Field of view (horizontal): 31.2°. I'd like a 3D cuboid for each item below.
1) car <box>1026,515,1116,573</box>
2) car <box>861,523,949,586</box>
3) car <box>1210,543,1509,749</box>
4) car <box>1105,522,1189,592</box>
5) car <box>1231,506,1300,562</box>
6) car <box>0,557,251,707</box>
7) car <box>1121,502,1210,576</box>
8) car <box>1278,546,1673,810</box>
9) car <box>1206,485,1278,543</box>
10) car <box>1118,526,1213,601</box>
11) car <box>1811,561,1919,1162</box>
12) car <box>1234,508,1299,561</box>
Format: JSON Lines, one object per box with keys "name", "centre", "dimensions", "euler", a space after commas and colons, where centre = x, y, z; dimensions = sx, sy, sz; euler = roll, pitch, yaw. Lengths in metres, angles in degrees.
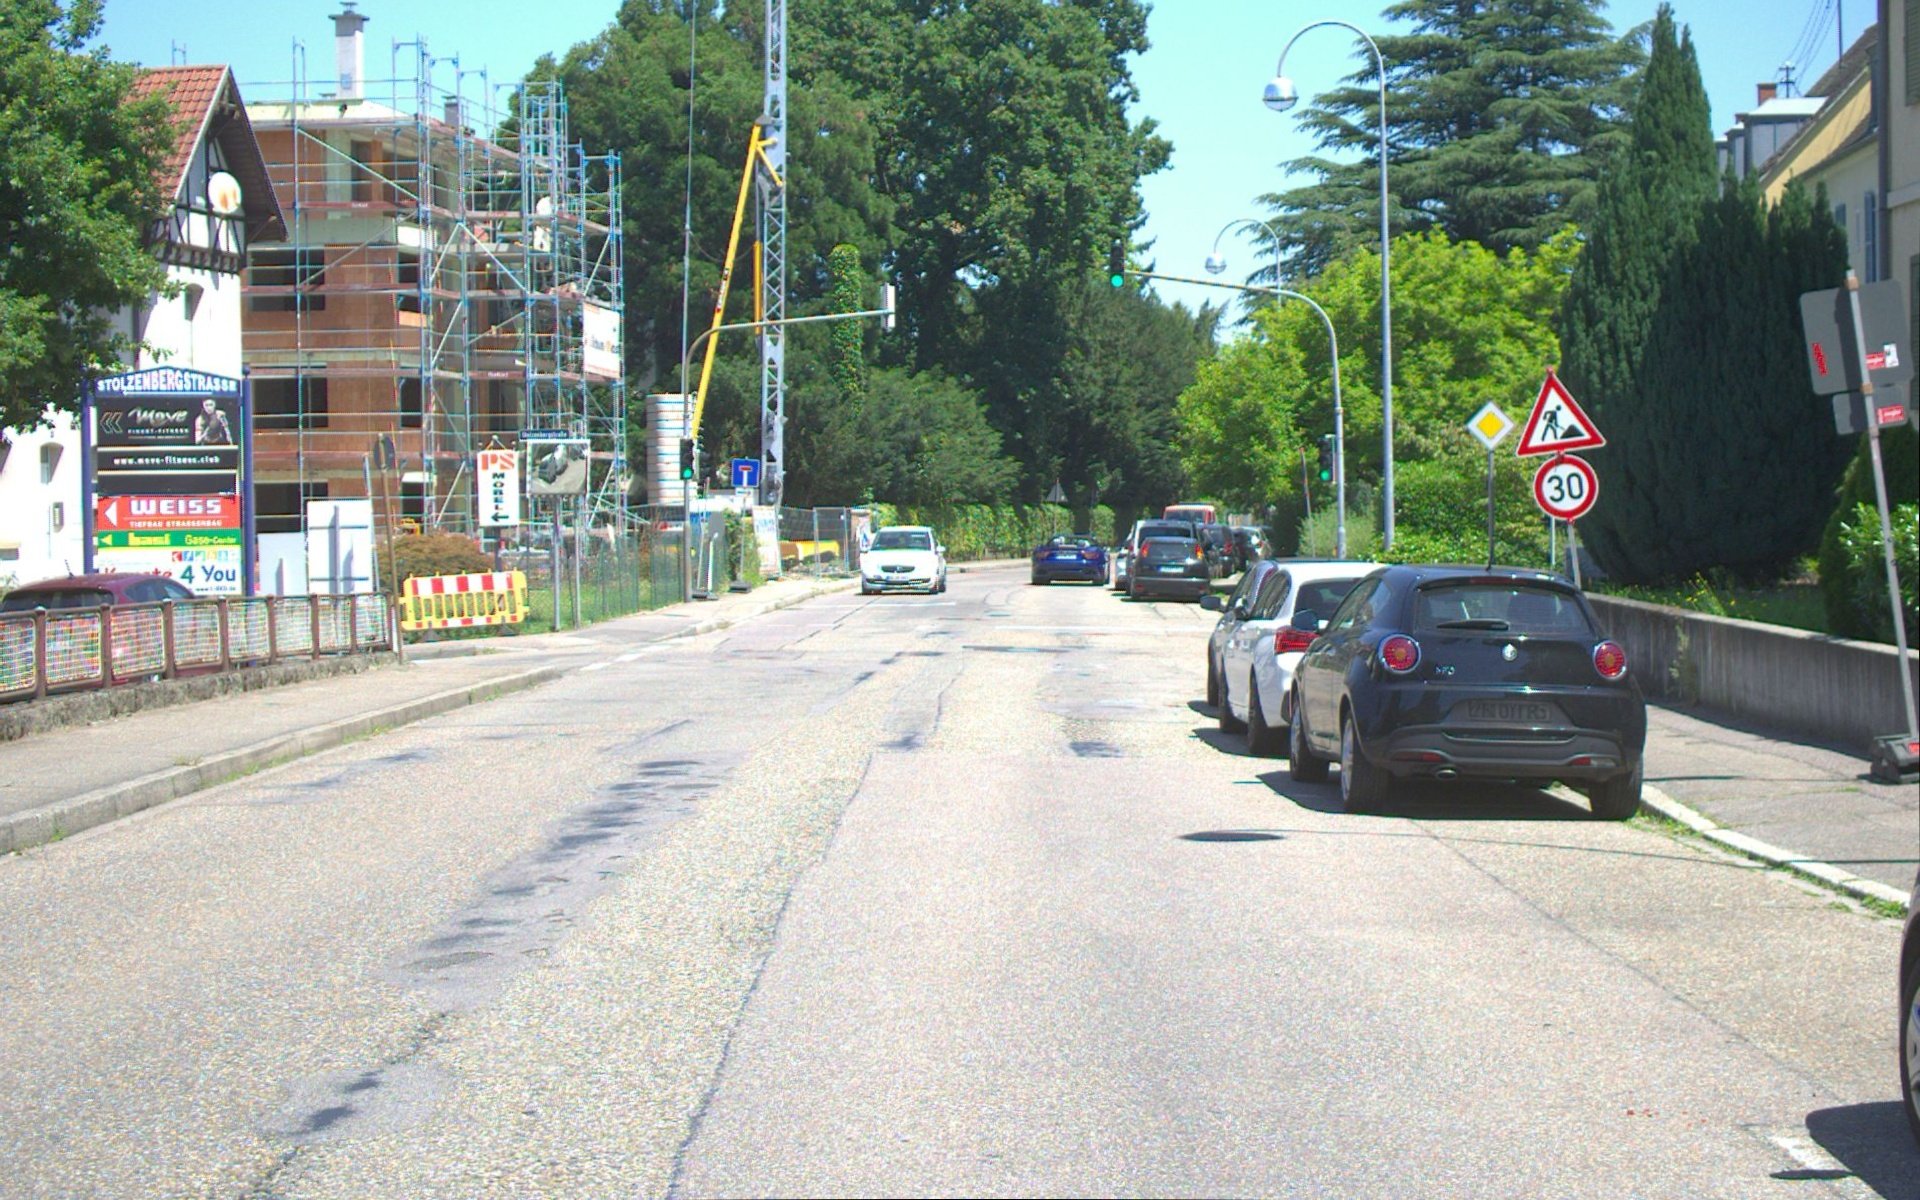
{"name": "car", "centre": [2.949, -1.505, 90.713], "dimensions": [1.959, 1.463, 3.999], "euler": [0, 2, 8]}
{"name": "car", "centre": [-1.272, -1.077, 80.732], "dimensions": [1.761, 1.446, 3.839], "euler": [0, 1, 4]}
{"name": "car", "centre": [2.996, 0.297, 26.507], "dimensions": [1.761, 1.446, 3.890], "euler": [0, 1, -1]}
{"name": "car", "centre": [4.675, -1.086, 85.528], "dimensions": [1.994, 1.656, 4.000], "euler": [-1, 1, 4]}
{"name": "car", "centre": [9.592, -2.067, 107.765], "dimensions": [1.994, 1.656, 3.999], "euler": [-1, 1, 7]}
{"name": "car", "centre": [-8.450, 0.286, 34.352], "dimensions": [1.660, 1.384, 3.534], "euler": [-1, 1, 6]}
{"name": "car", "centre": [4.817, -1.432, 80.316], "dimensions": [1.994, 1.656, 4.000], "euler": [-1, 1, 4]}
{"name": "car", "centre": [3.047, 0.403, 21.052], "dimensions": [1.761, 1.446, 3.840], "euler": [0, 1, -1]}
{"name": "car", "centre": [8.481, -2.565, 103.064], "dimensions": [1.994, 1.656, 3.999], "euler": [-1, 1, 7]}
{"name": "car", "centre": [4.529, -0.807, 75.436], "dimensions": [1.994, 1.568, 4.000], "euler": [-1, 1, 4]}
{"name": "car", "centre": [3.231, 0.663, 7.194], "dimensions": [1.761, 1.446, 4.223], "euler": [0, 1, -1]}
{"name": "car", "centre": [10.058, -2.152, 112.695], "dimensions": [1.994, 1.656, 3.999], "euler": [-1, 1, 7]}
